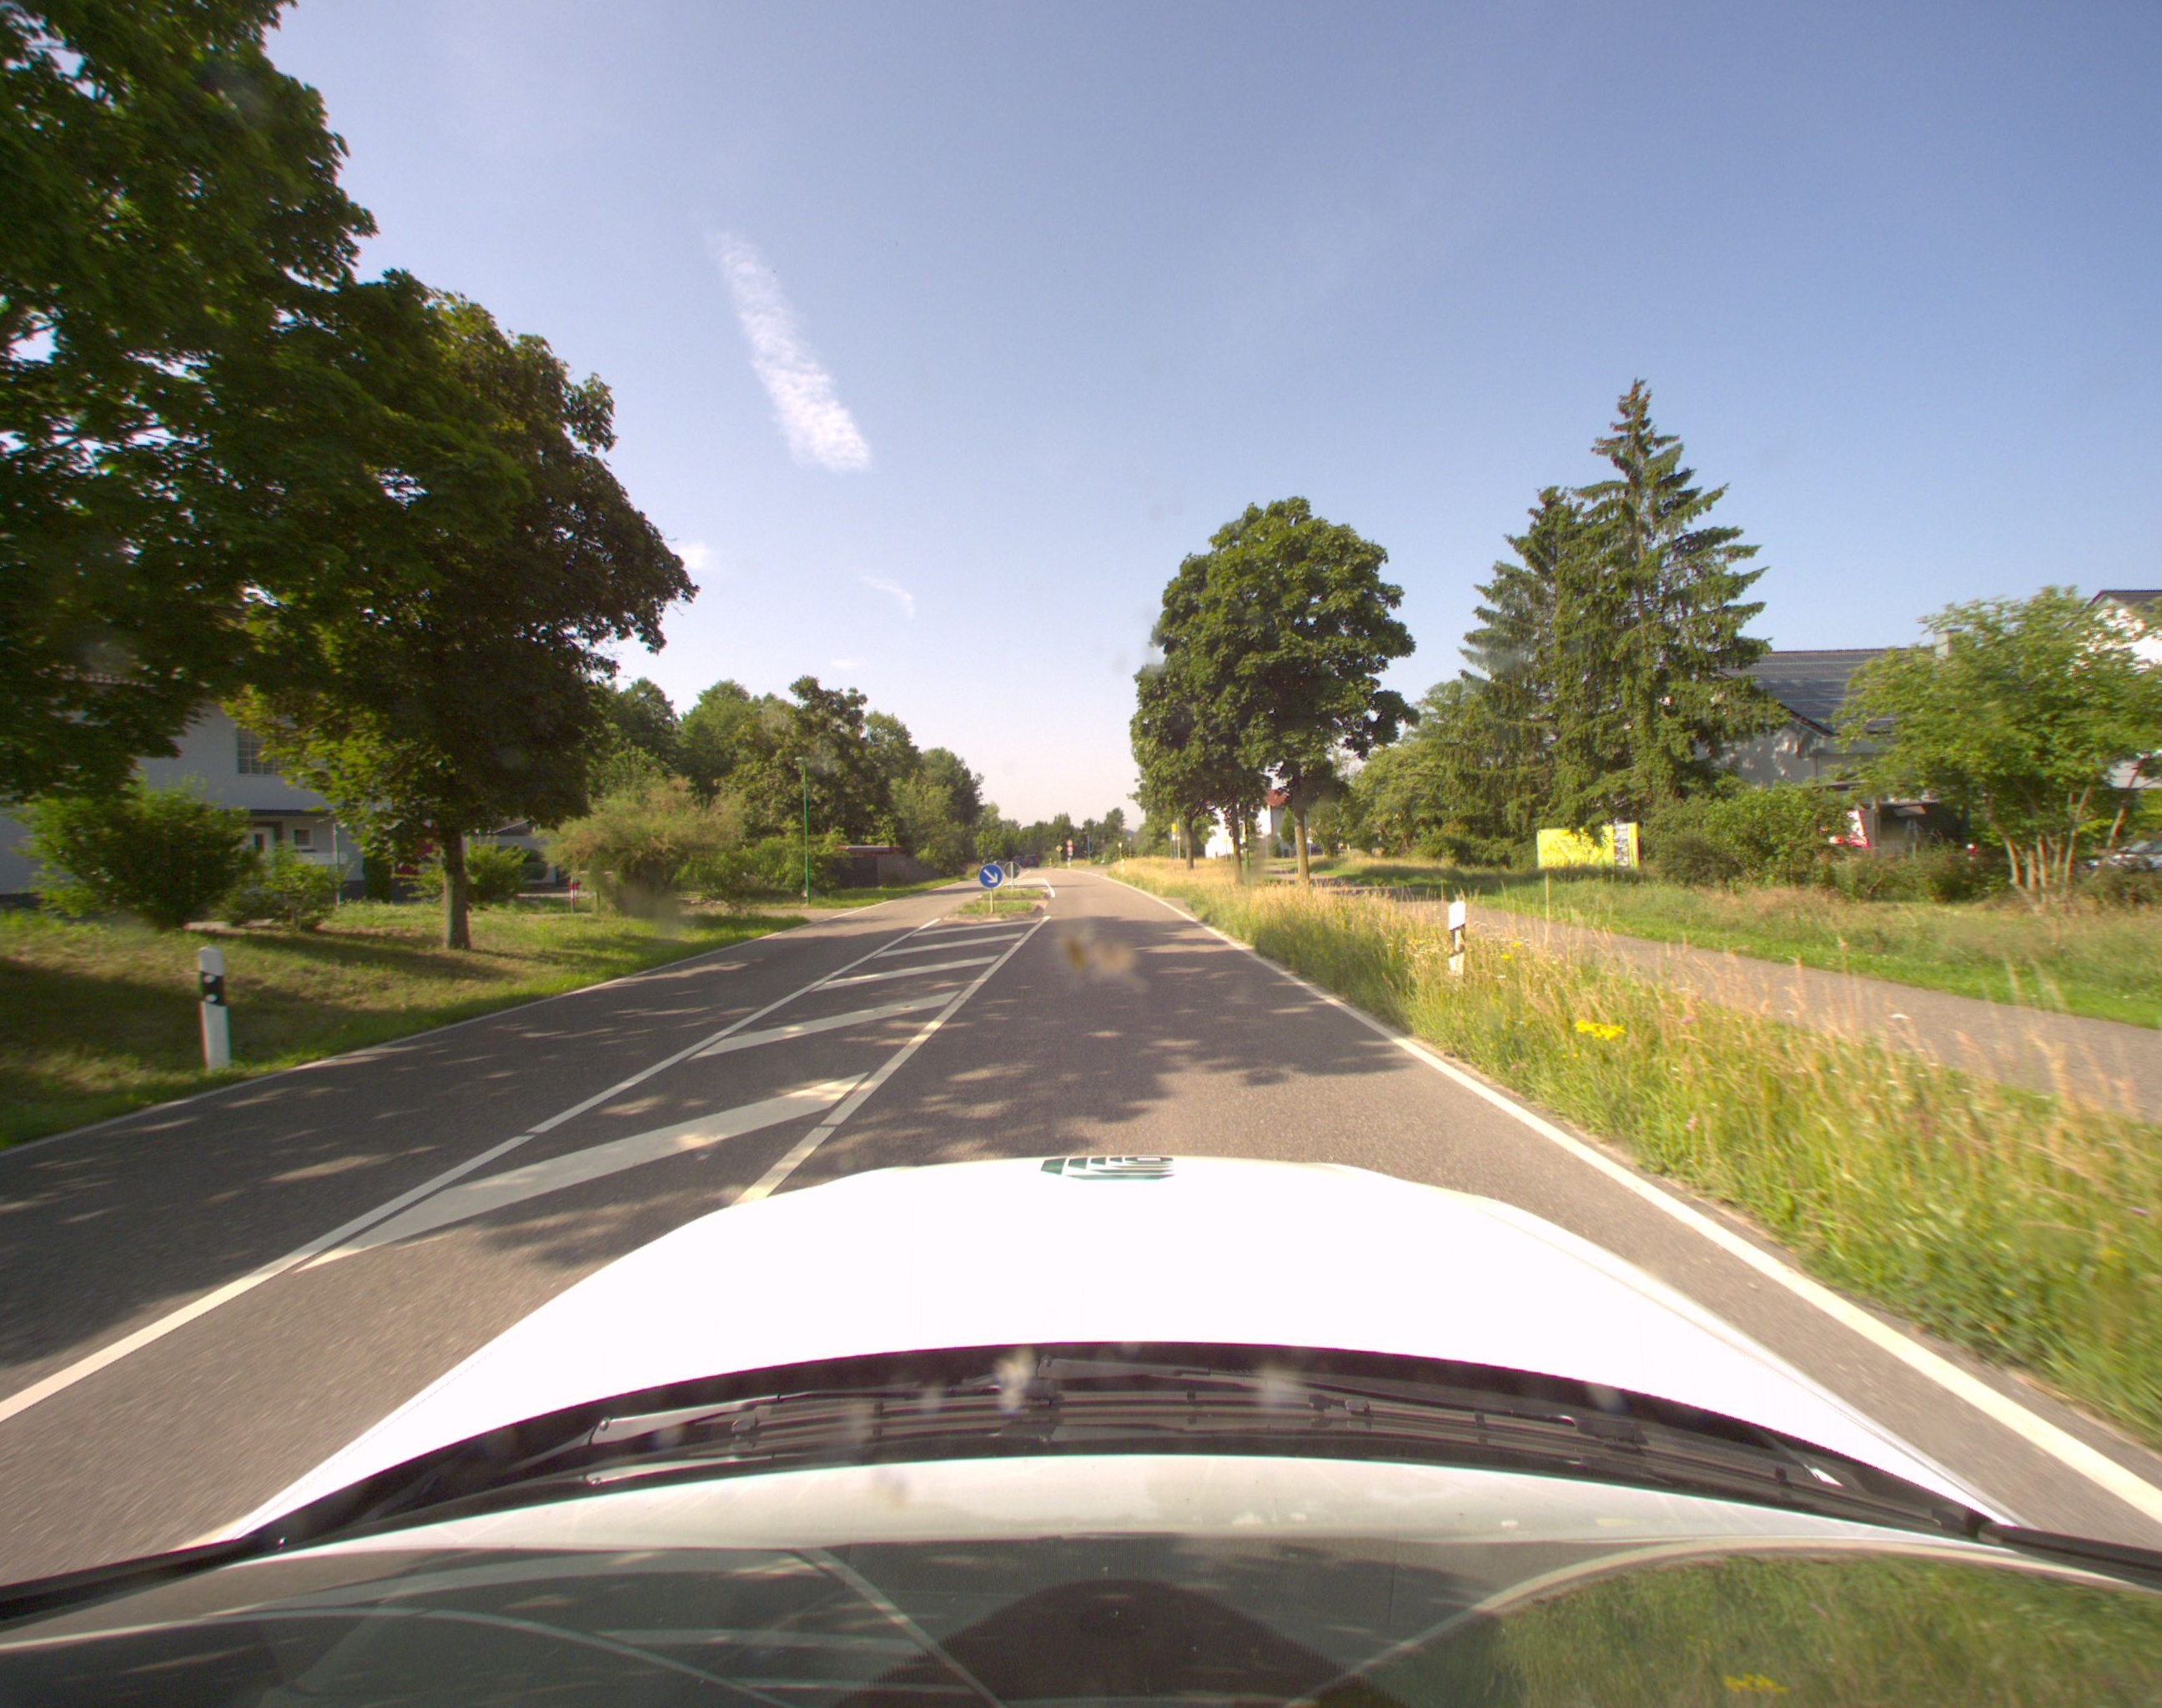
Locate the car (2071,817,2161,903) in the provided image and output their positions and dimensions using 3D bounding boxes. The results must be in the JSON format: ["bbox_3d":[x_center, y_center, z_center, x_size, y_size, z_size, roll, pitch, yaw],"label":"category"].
[{"bbox_3d":[20.152,0.033,14.190,3.982,1.434,1.811,-2,0,-7],"label":"car"}]

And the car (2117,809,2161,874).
[{"bbox_3d":[29.605,-0.374,20.834,3.916,1.662,1.839,-2,0,-2],"label":"car"}]

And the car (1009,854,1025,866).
[{"bbox_3d":[-9.787,0.956,124.646,2.005,1.771,3.985,-2,0,-11],"label":"car"}]

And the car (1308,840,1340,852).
[{"bbox_3d":[37.586,-1.229,126.234,4.402,1.698,1.782,-1,0,36],"label":"car"}]

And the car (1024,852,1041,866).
[{"bbox_3d":[-6.332,0.624,105.179,1.923,1.771,3.990,-2,0,-7],"label":"car"}]
